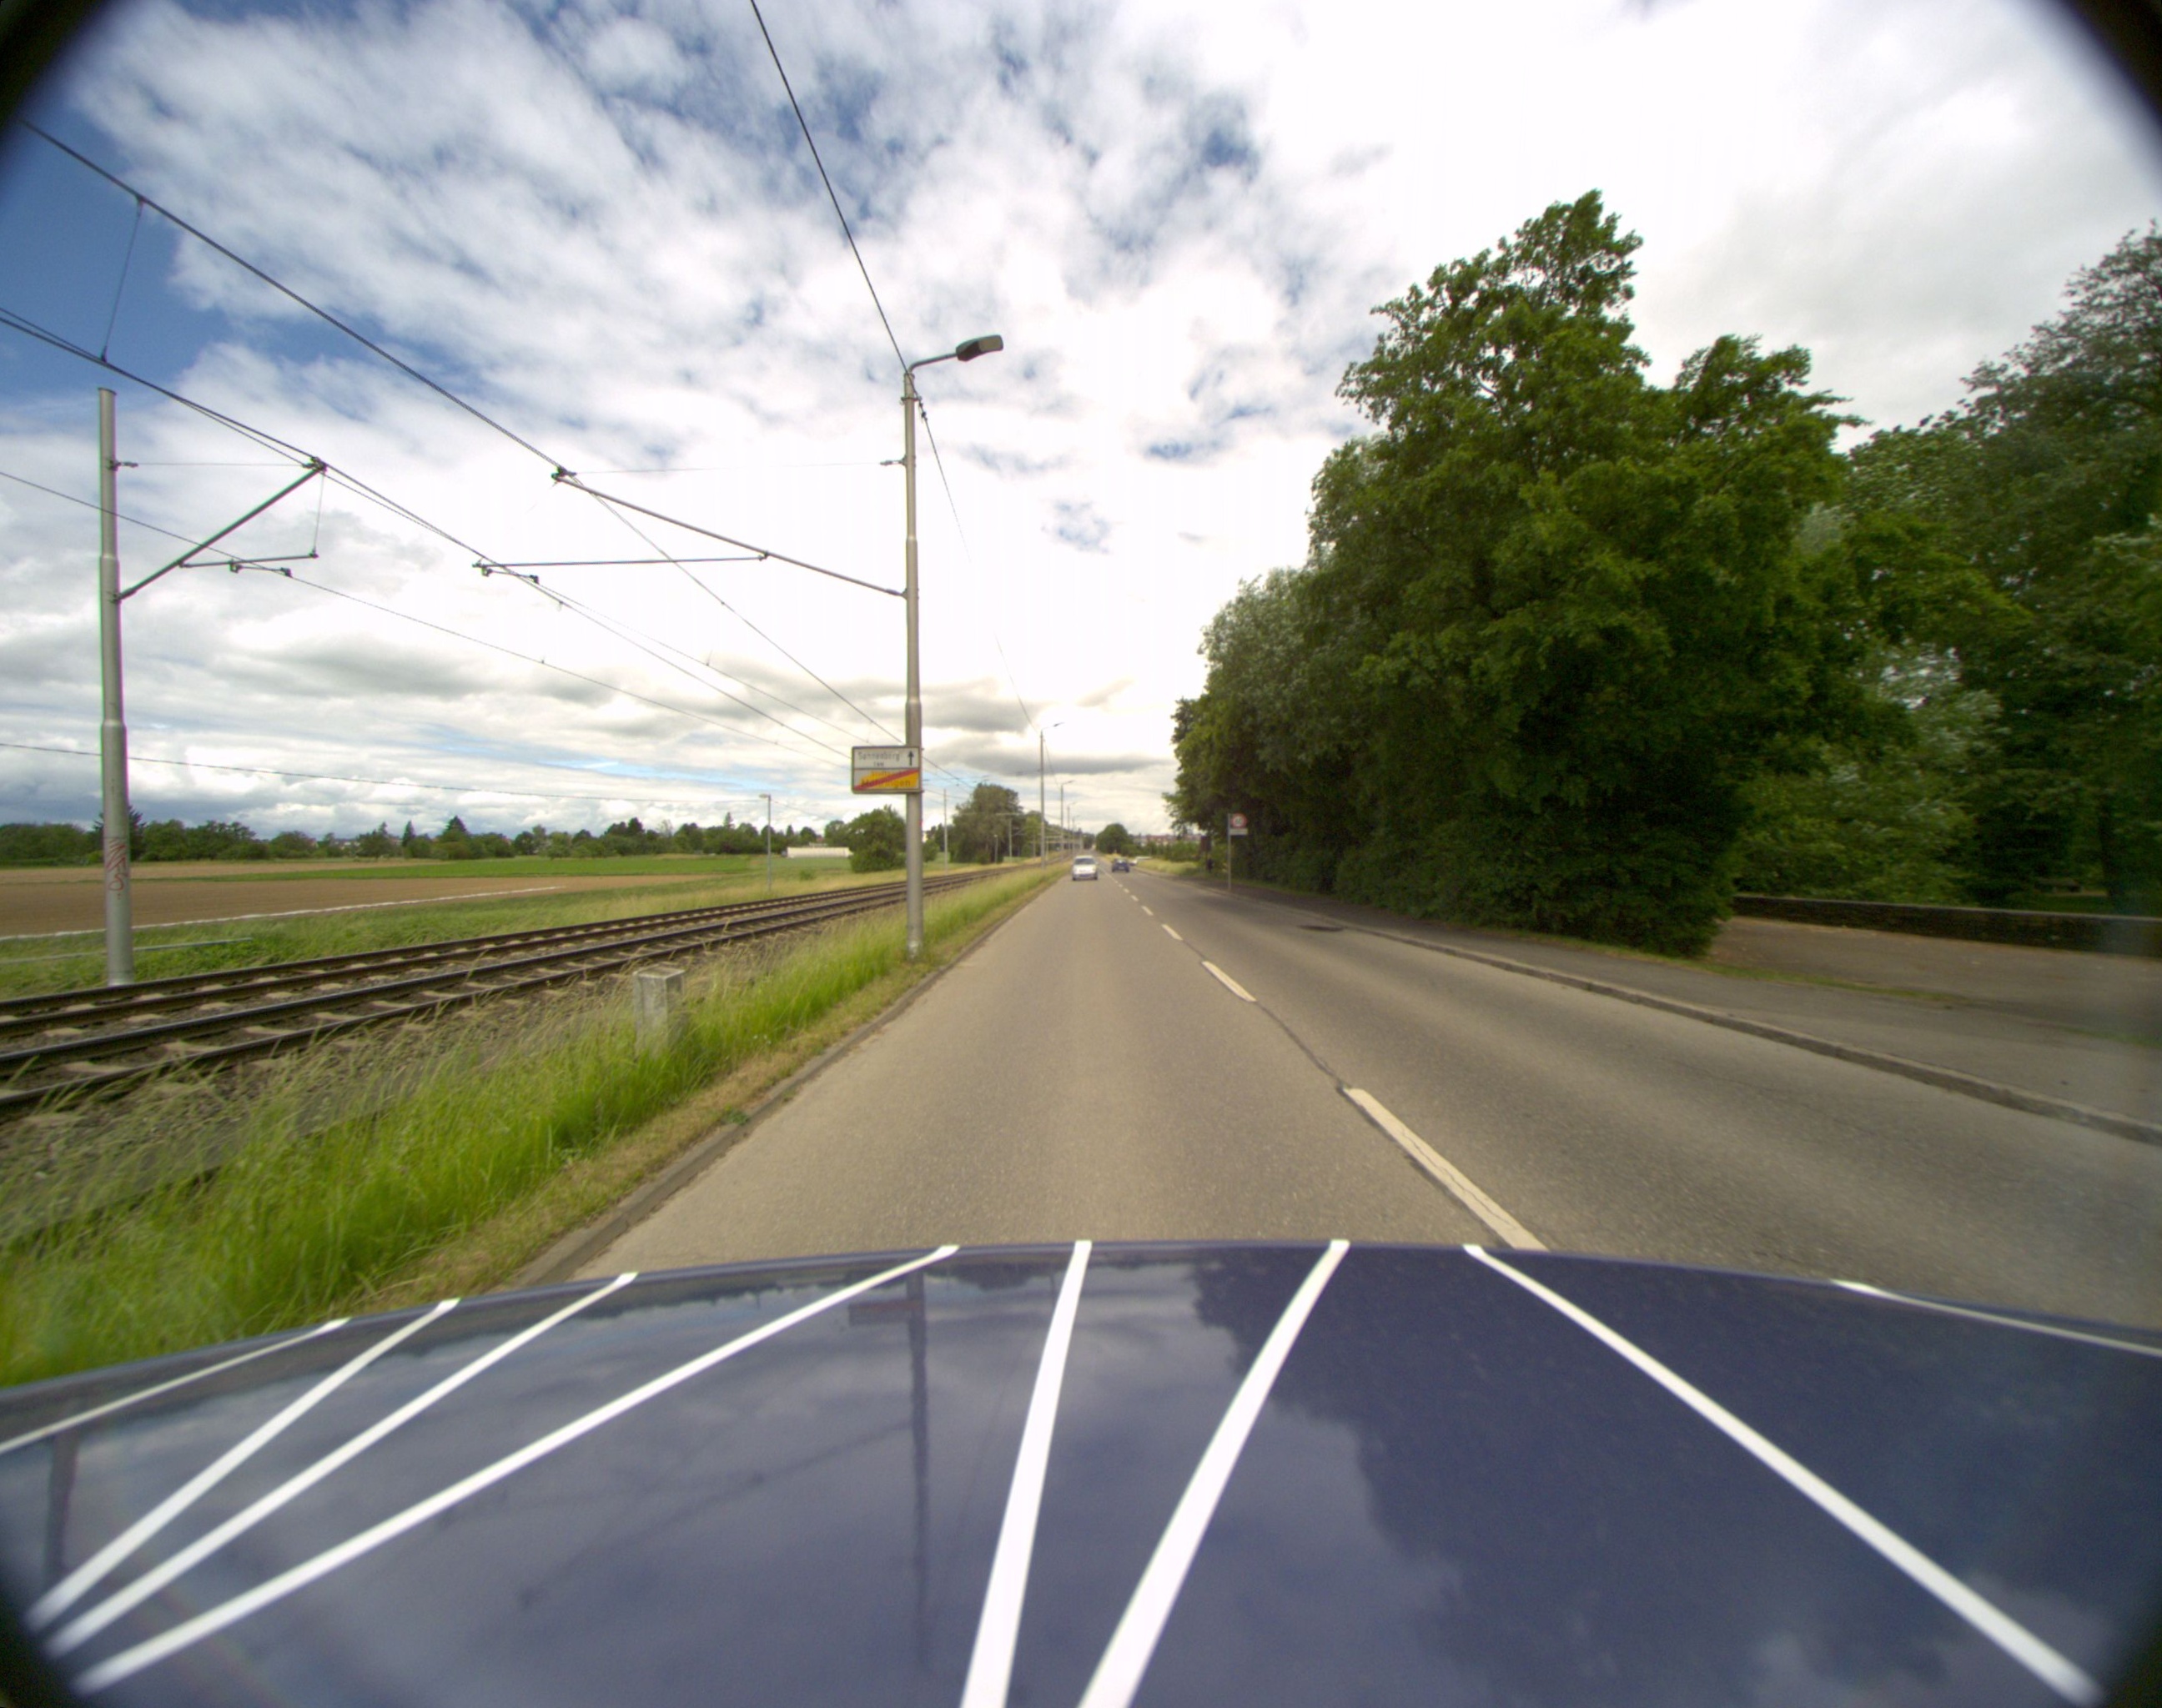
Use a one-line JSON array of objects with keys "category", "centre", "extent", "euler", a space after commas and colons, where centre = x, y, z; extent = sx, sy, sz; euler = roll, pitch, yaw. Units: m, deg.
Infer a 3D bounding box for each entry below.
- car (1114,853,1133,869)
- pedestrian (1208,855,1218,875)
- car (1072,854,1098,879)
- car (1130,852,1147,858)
[{"category": "car", "centre": [4.274, 0.718, 77.301], "extent": [1.711, 1.519, 3.824], "euler": [1, 1, 1]}, {"category": "pedestrian", "centre": [10.468, 0.866, 60.323], "extent": [0.706, 1.584, 0.707], "euler": [-1, -1, 11]}, {"category": "car", "centre": [0.305, 0.834, 51.449], "extent": [1.643, 1.510, 3.868], "euler": [-2, 1, 1]}, {"category": "car", "centre": [12.147, 0.222, 159.803], "extent": [3.216, 1.244, 1.455], "euler": [-2, 1, 29]}]
